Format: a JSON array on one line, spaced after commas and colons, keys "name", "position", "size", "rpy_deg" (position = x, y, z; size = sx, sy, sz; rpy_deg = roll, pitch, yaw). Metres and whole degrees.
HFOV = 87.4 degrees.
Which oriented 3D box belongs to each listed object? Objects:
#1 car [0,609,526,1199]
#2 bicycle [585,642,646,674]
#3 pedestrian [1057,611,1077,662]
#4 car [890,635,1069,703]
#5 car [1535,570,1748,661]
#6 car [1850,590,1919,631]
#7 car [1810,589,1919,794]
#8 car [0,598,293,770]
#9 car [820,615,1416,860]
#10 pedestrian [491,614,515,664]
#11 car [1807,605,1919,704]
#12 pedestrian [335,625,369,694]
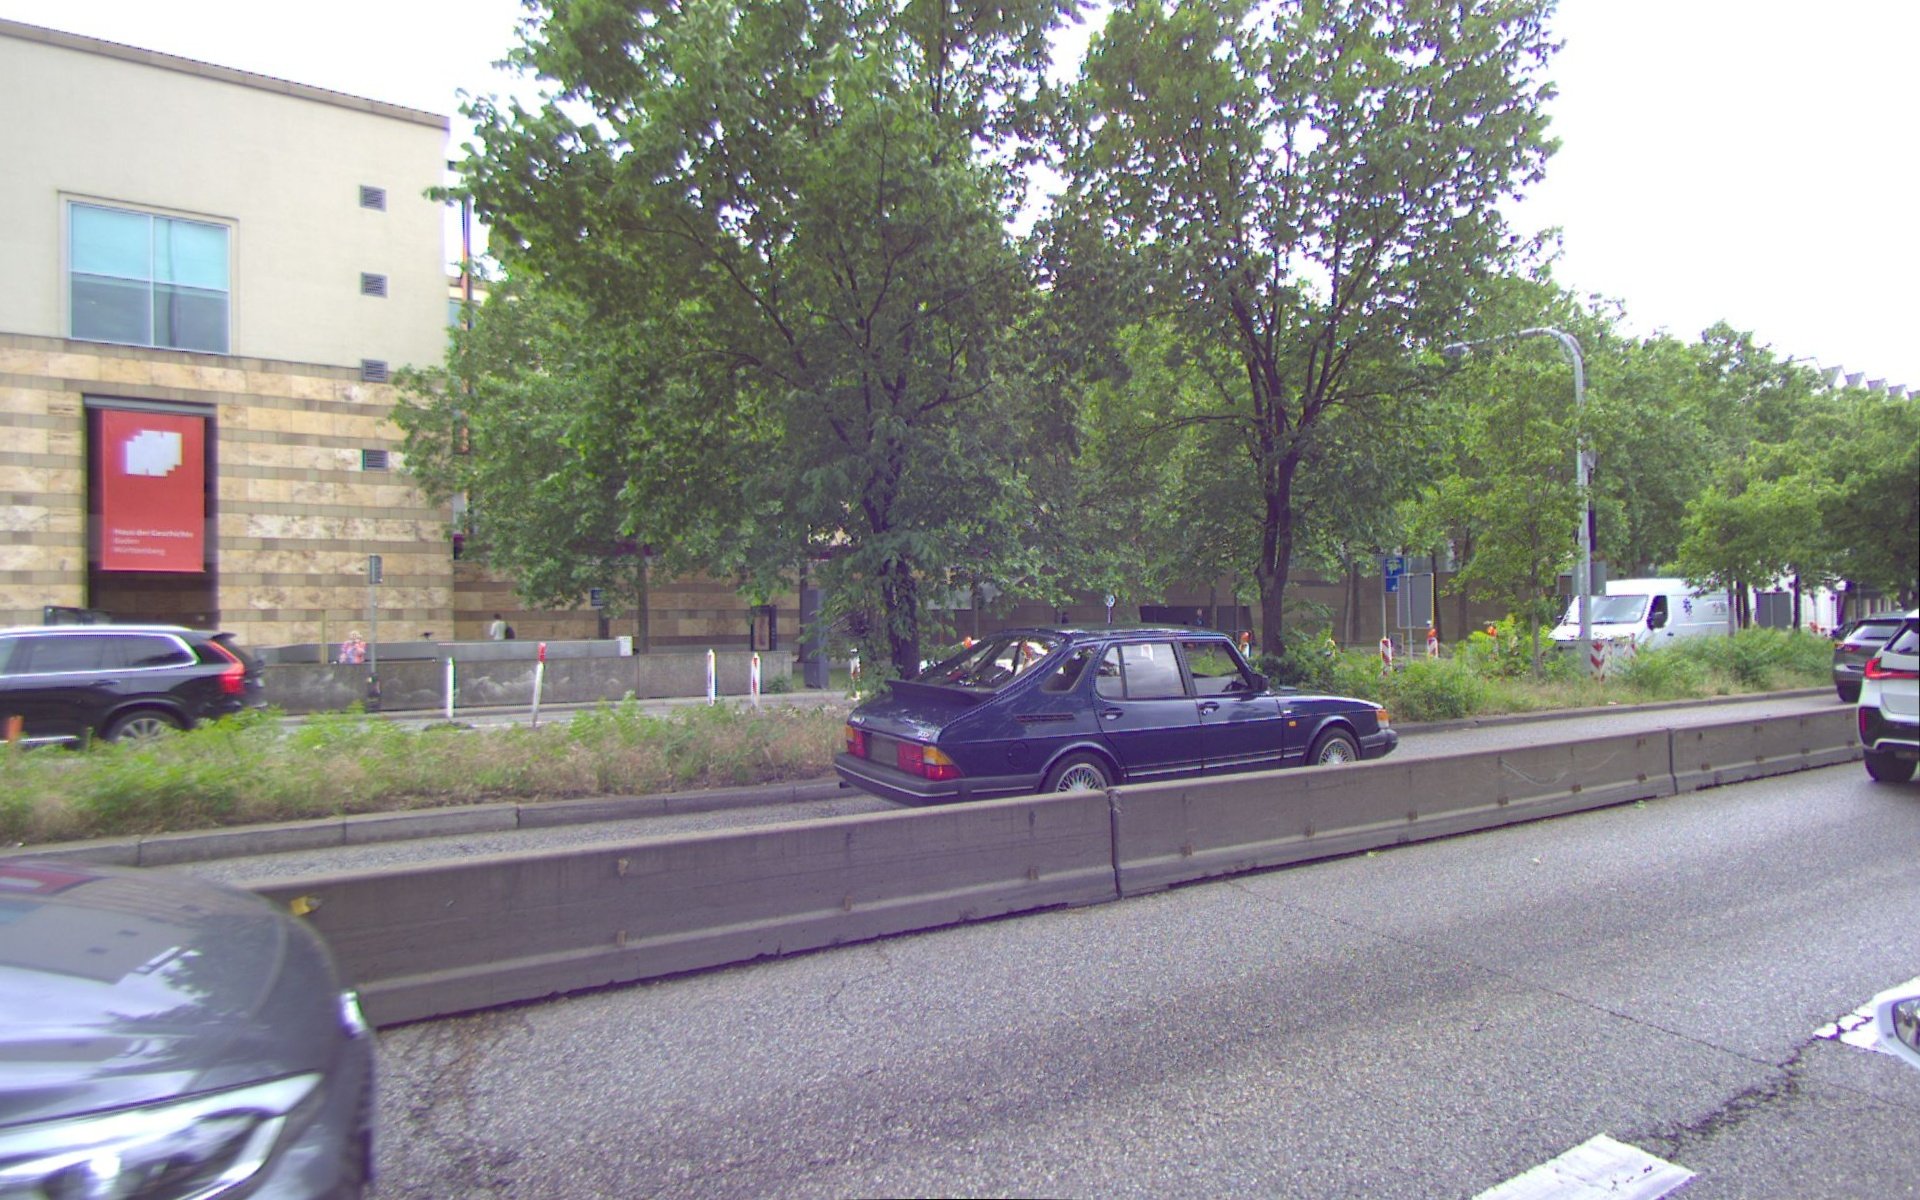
[{"name": "car", "position": [-2.782, 0.738, 1.123], "size": [3.978, 1.456, 1.787], "rpy_deg": [1, 0, -34]}, {"name": "bicycle", "position": [-11.114, 1.858, 32.395], "size": [1.820, 1.008, 0.487], "rpy_deg": [1, 1, -25]}, {"name": "pedestrian", "position": [4.340, 1.478, 40.792], "size": [0.657, 2.040, 0.449], "rpy_deg": [0, -1, -30]}, {"name": "car", "position": [0.554, 1.733, 26.066], "size": [4.469, 1.547, 1.638], "rpy_deg": [0, -1, -31]}, {"name": "car", "position": [16.523, 0.361, 24.274], "size": [5.513, 1.995, 2.105], "rpy_deg": [0, -1, -31]}, {"name": "car", "position": [35.083, 0.392, 37.397], "size": [3.953, 1.439, 1.767], "rpy_deg": [0, -1, -31]}, {"name": "car", "position": [9.901, 0.768, 9.131], "size": [4.849, 1.650, 1.842], "rpy_deg": [1, -1, -30]}, {"name": "car", "position": [-11.165, 0.952, 12.077], "size": [5.046, 1.900, 2.185], "rpy_deg": [0, -1, -29]}, {"name": "car", "position": [1.333, 0.826, 7.675], "size": [4.490, 1.385, 1.670], "rpy_deg": [0, -1, -31]}, {"name": "pedestrian", "position": [-14.708, 1.248, 32.352], "size": [0.616, 1.590, 0.434], "rpy_deg": [0, -1, -38]}, {"name": "car", "position": [15.451, 0.824, 16.135], "size": [3.915, 1.455, 1.653], "rpy_deg": [1, -1, -31]}, {"name": "pedestrian", "position": [-14.018, 1.368, 23.153], "size": [0.554, 1.552, 0.525], "rpy_deg": [0, 0, -18]}]
